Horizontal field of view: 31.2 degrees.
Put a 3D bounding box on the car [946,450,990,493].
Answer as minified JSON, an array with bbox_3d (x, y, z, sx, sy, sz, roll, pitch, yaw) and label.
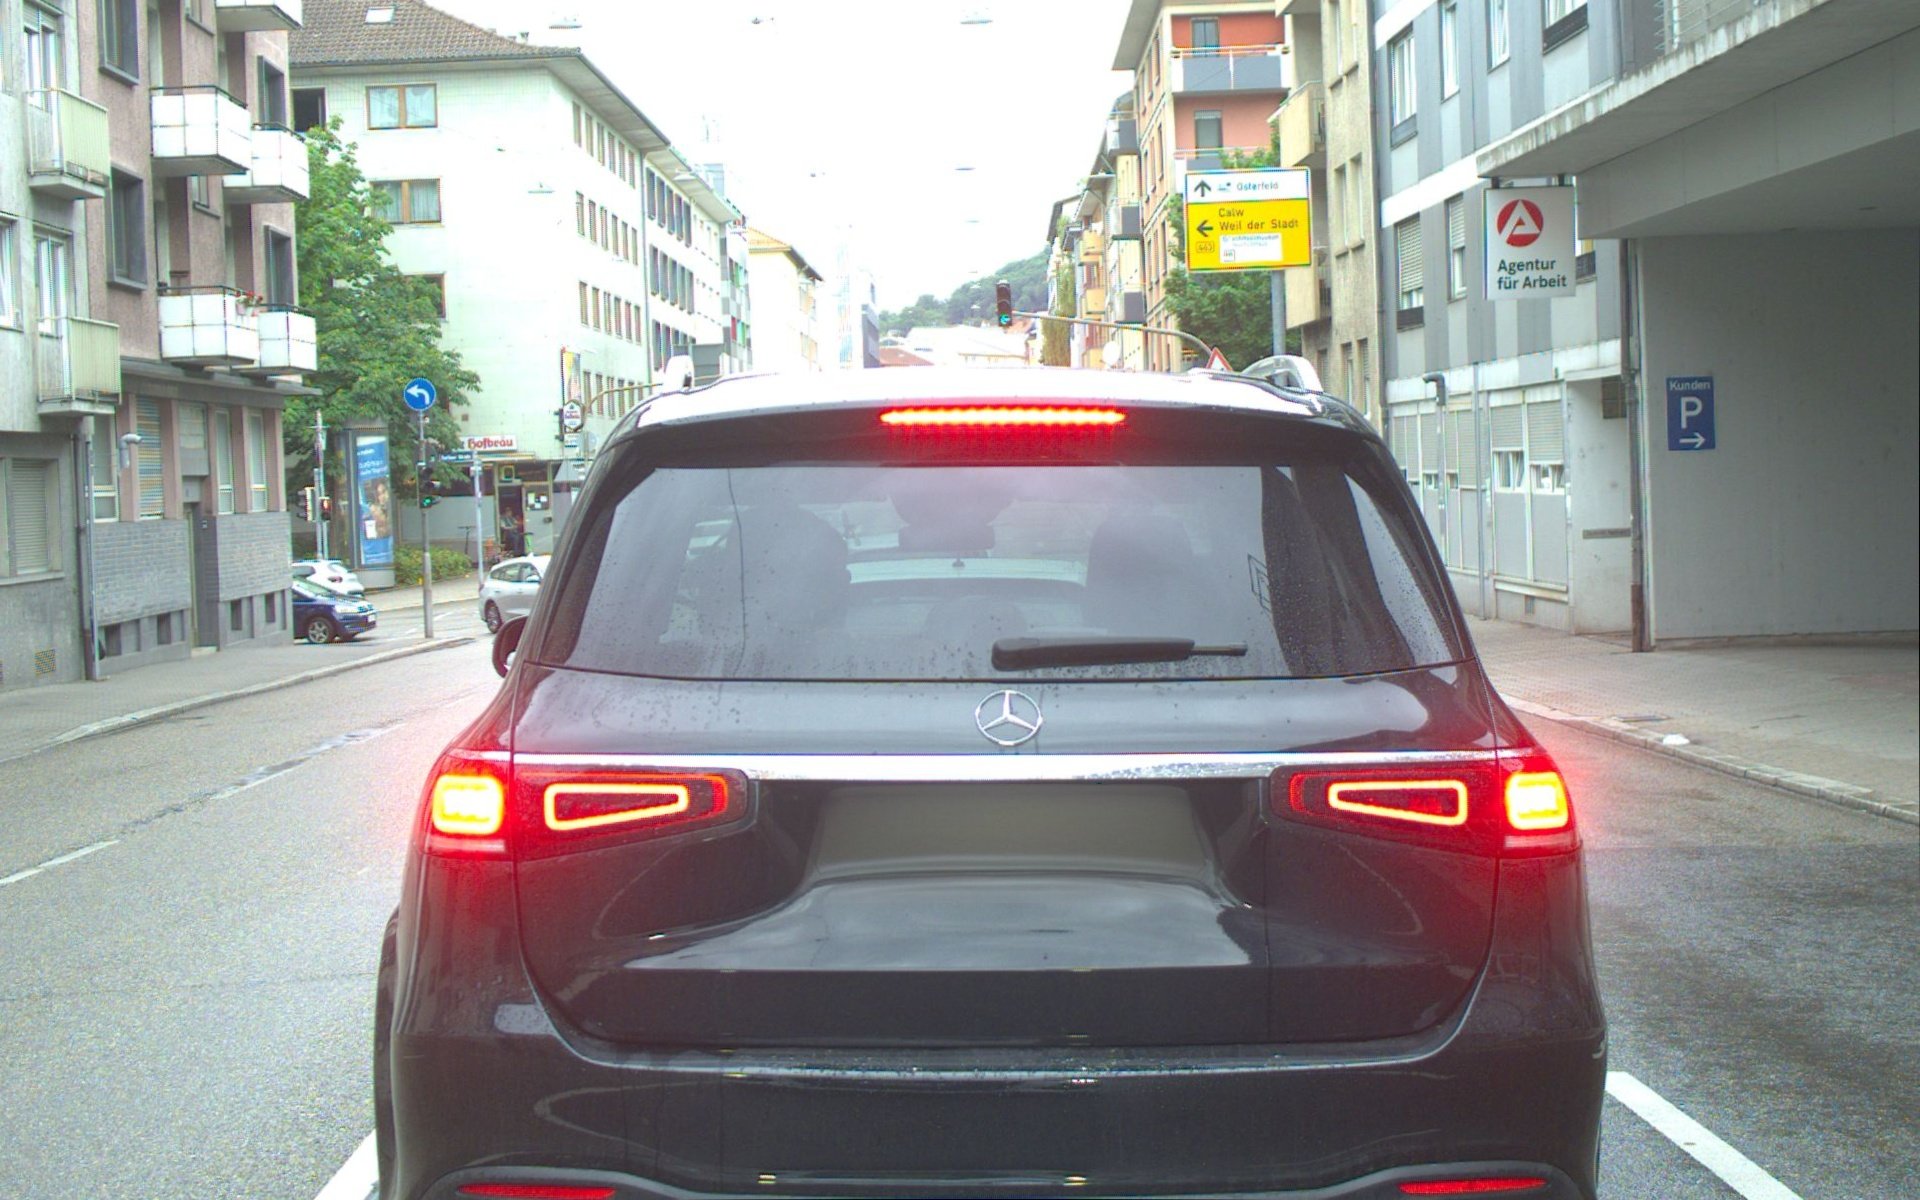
[{"bbox_3d":[0.347,-5.809,155.690,1.723,1.754,4.218,-3,1,-3],"label":"car"}]

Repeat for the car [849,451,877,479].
[{"bbox_3d":[-6.222,-8.607,219.203,1.618,1.534,4.218,-3,1,-3],"label":"car"}]

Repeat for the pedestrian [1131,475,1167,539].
[{"bbox_3d":[5.509,-2.707,100.084,0.923,1.798,0.706,-2,1,-2],"label":"pedestrian"}]

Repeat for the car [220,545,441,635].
[{"bbox_3d":[-13.337,-0.227,72.761,4.351,1.700,2.001,-3,1,-17],"label":"car"}]

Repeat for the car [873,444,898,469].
[{"bbox_3d":[-5.422,-10.428,249.996,1.618,1.534,4.218,-3,1,-3],"label":"car"}]

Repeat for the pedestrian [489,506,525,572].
[{"bbox_3d":[-13.442,-1.807,101.973,0.923,1.895,0.706,-2,1,-2],"label":"pedestrian"}]

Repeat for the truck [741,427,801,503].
[{"bbox_3d":[-8.601,-6.097,156.991,2.479,3.035,9.921,-3,1,-3],"label":"truck"}]

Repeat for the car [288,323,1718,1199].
[{"bbox_3d":[0.032,0.505,7.006,1.985,1.799,4.390,1,1,-1],"label":"car"}]

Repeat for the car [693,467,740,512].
[{"bbox_3d":[-9.309,-4.202,131.574,1.618,1.534,4.218,-3,1,-3],"label":"car"}]

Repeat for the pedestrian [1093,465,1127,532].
[{"bbox_3d":[4.644,-3.141,106.423,0.923,2.007,0.706,-2,1,-2],"label":"pedestrian"}]

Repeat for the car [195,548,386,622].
[{"bbox_3d":[-16.223,-0.375,83.269,4.207,1.534,1.622,-3,1,18],"label":"car"}]

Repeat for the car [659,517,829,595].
[{"bbox_3d":[-4.933,-0.985,78.091,1.815,1.534,4.217,-4,1,-36],"label":"car"}]

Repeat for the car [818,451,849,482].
[{"bbox_3d":[-7.131,-7.489,193.620,1.618,1.534,4.218,-3,1,-3],"label":"car"}]

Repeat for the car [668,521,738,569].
[{"bbox_3d":[-7.519,-1.604,100.806,1.885,1.260,4.218,-3,1,-3],"label":"car"}]

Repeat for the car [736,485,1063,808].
[{"bbox_3d":[-0.429,0.234,20.923,1.751,1.725,4.218,-1,1,-3],"label":"car"}]

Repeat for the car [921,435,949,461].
[{"bbox_3d":[-1.725,-10.298,233.700,1.618,1.534,4.218,-3,1,-3],"label":"car"}]

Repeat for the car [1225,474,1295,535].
[{"bbox_3d":[8.232,-2.626,94.592,1.671,1.583,3.330,-2,1,2],"label":"car"}]

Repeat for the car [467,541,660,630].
[{"bbox_3d":[-7.836,-0.262,67.569,1.773,1.534,4.358,-4,1,-36],"label":"car"}]
